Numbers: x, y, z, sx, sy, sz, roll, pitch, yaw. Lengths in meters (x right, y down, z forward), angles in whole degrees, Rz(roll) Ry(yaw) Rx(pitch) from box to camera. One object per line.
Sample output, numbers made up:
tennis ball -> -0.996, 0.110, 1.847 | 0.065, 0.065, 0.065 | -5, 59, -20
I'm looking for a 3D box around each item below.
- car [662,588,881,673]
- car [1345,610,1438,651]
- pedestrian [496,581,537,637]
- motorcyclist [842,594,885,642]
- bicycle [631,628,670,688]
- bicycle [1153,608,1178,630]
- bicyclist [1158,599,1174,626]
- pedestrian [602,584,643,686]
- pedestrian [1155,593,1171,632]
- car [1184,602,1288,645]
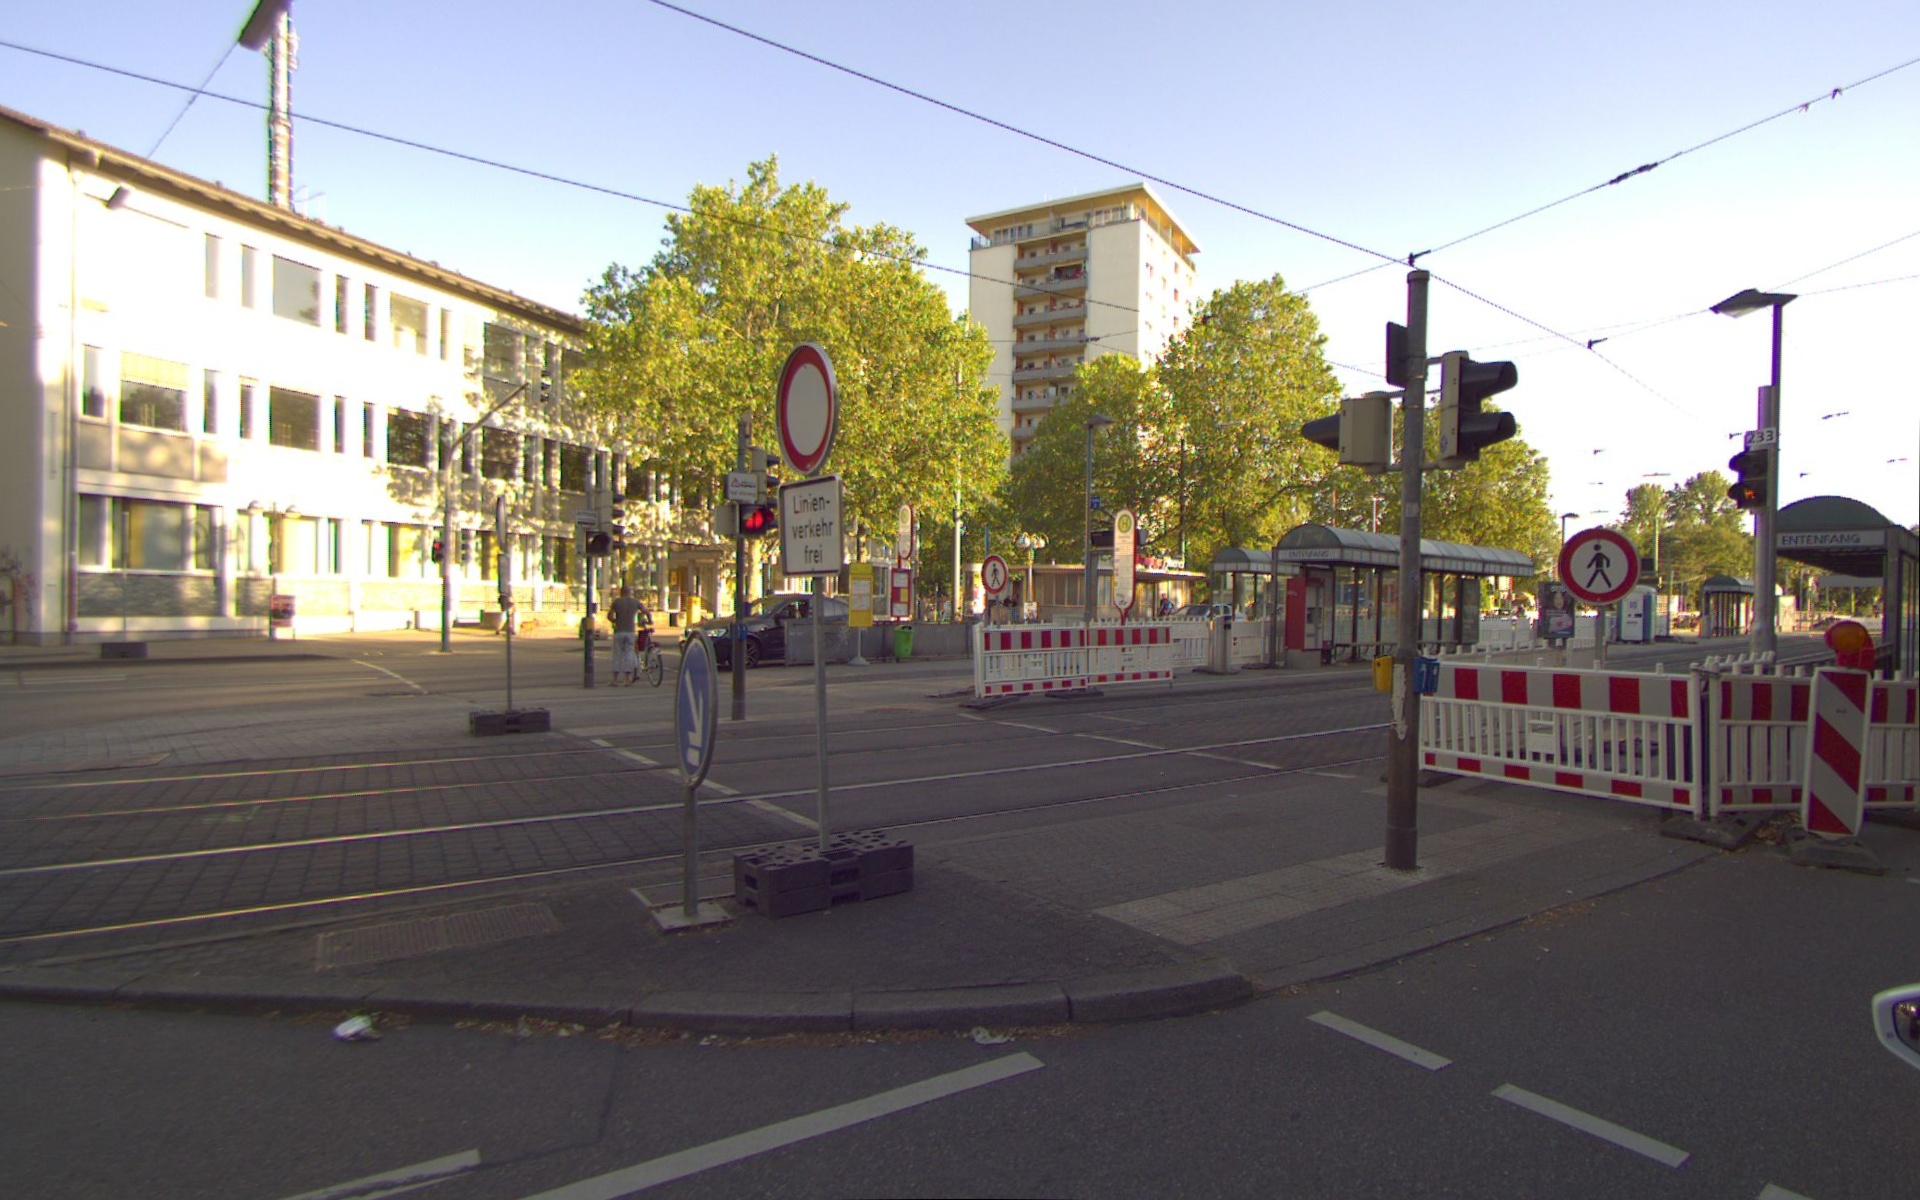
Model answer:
car -> -4.162, 0.638, 22.642 | 4.554, 1.689, 1.877 | 1, 2, -43
car -> 19.043, 1.283, 44.210 | 4.652, 1.677, 1.931 | 0, 0, -41
pedestrian -> -14.154, 0.270, 32.087 | 0.793, 1.752, 0.884 | 1, 0, 28
motorcyclist -> -2.715, 0.507, 28.216 | 0.975, 1.332, 0.675 | 0, -1, -37
bicycle -> -5.527, 1.012, 17.889 | 0.318, 0.978, 1.569 | 0, 0, -30
bicycle -> 9.459, 0.885, 46.152 | 0.406, 0.980, 1.452 | 1, 0, 45
bicyclist -> 9.468, 0.573, 46.153 | 0.406, 1.189, 0.658 | 1, 0, 45
pedestrian -> -5.986, 0.609, 17.809 | 0.589, 1.782, 0.592 | 0, 0, -30
pedestrian -> 9.711, 0.584, 48.082 | 0.559, 1.834, 0.611 | 1, 0, 31
car -> 11.470, 0.932, 41.596 | 4.654, 1.677, 1.930 | 0, 0, -42
